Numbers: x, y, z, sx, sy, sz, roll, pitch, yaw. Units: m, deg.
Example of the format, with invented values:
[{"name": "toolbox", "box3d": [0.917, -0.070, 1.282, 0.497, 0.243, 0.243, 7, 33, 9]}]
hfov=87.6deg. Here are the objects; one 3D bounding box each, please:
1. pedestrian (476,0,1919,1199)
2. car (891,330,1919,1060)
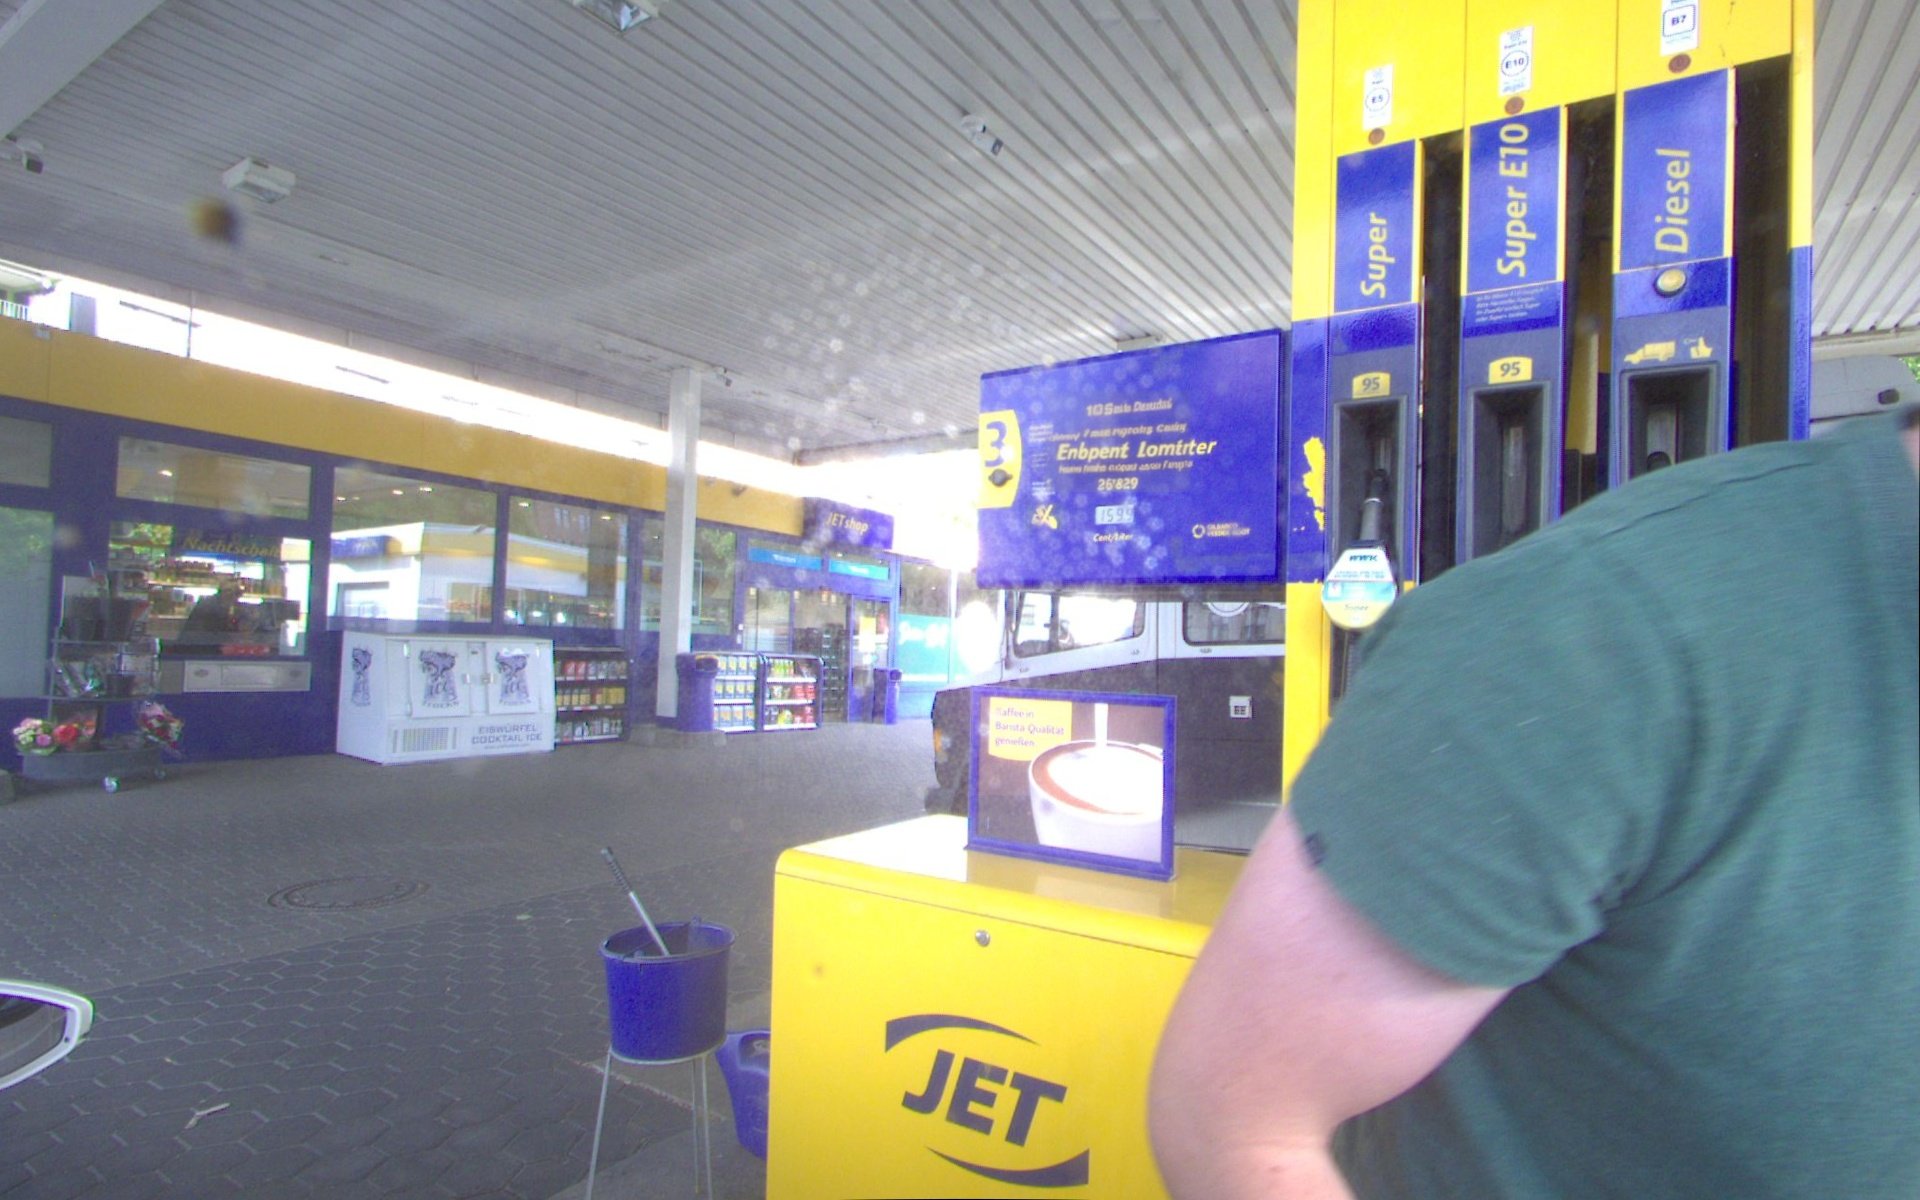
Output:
[{"name": "pedestrian", "box3d": [0.531, 0.561, 0.537, 1.167, 1.750, 0.988, -2, -2, 35]}, {"name": "car", "box3d": [2.348, 0.436, 5.999, 5.271, 2.759, 2.193, -1, -3, 34]}]
